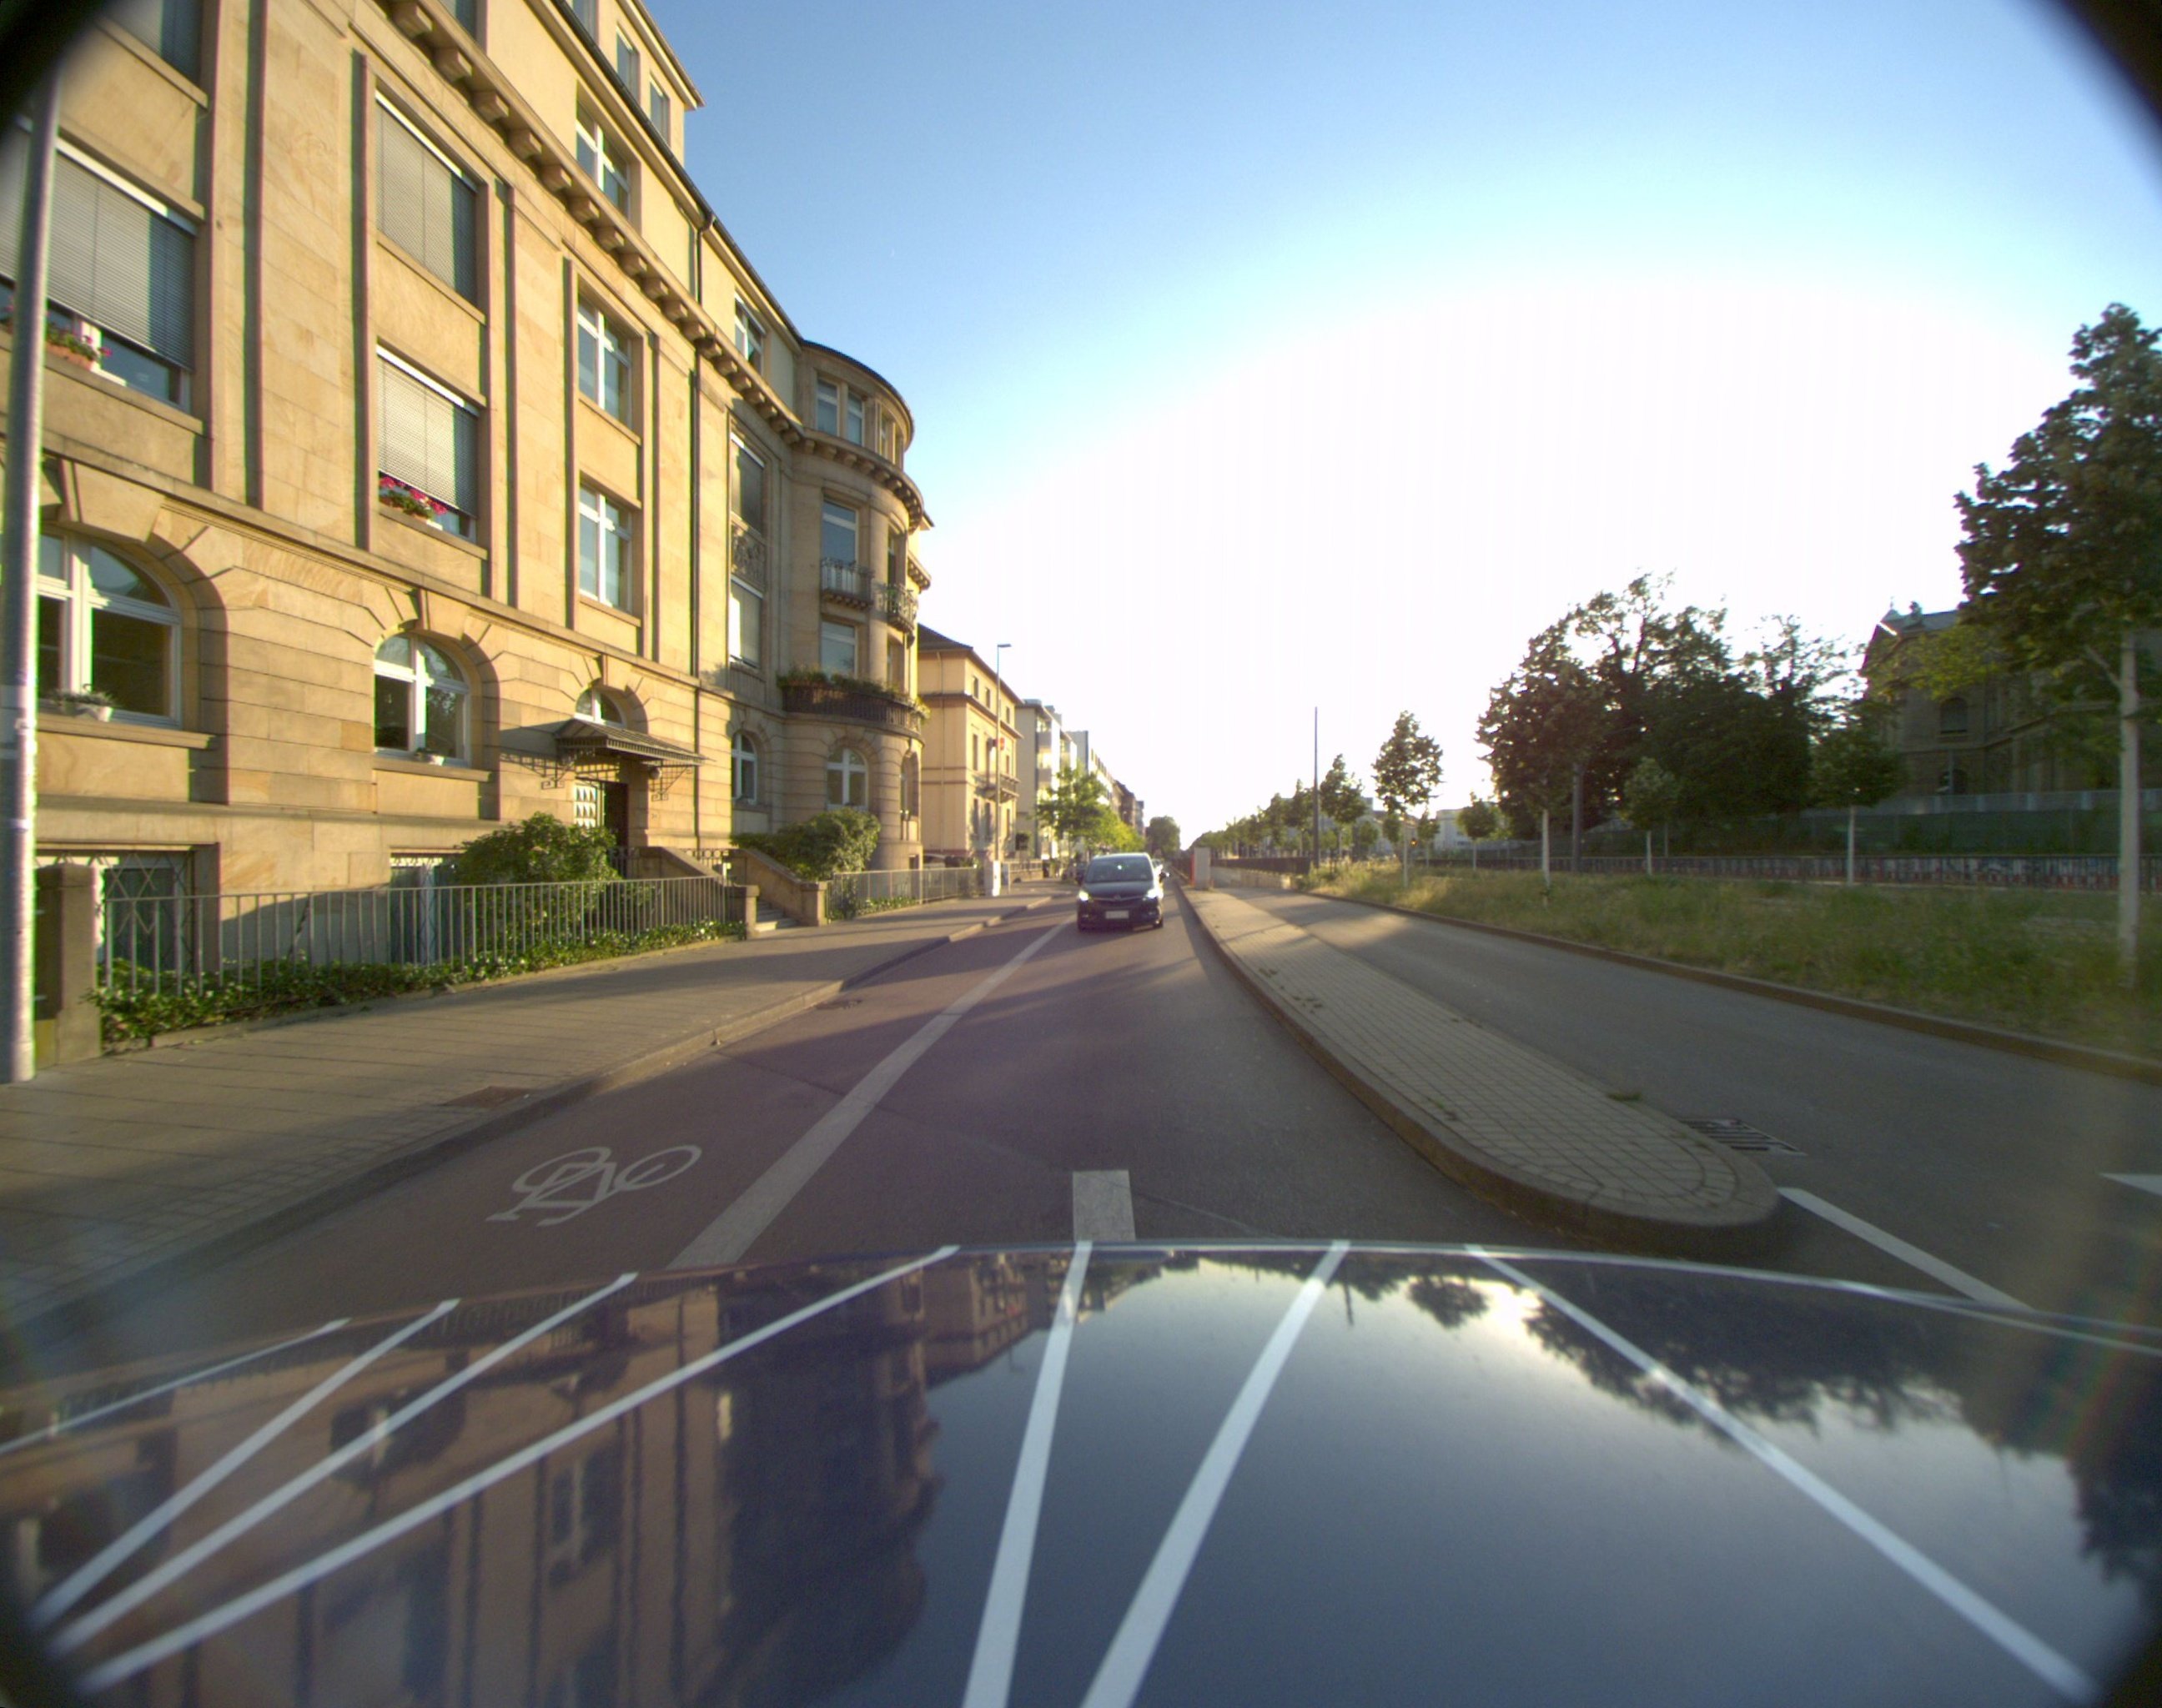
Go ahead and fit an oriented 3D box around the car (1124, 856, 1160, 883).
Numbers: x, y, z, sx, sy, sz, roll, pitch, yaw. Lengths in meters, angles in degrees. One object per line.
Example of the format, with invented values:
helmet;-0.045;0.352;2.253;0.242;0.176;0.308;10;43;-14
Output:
car;3.514;0.883;43.108;1.858;1.425;4.846;-2;-1;6

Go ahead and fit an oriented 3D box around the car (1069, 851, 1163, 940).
car;0.886;0.779;16.832;1.770;1.649;4.854;0;0;5

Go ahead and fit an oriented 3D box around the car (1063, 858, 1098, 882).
car;-0.003;0.972;48.113;1.881;1.394;4.102;-1;0;5

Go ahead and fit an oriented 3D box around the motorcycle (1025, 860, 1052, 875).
motorcycle;-3.126;0.968;55.672;1.847;1.090;0.576;-1;0;11

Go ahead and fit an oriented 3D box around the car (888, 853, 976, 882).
car;-7.733;0.696;39.606;4.095;1.472;1.939;-1;0;6

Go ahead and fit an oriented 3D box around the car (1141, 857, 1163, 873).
car;6.523;1.027;69.903;1.858;1.425;4.846;-2;-1;5

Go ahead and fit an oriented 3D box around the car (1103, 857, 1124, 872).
car;3.328;1.040;77.019;1.936;1.472;4.102;-1;0;5
